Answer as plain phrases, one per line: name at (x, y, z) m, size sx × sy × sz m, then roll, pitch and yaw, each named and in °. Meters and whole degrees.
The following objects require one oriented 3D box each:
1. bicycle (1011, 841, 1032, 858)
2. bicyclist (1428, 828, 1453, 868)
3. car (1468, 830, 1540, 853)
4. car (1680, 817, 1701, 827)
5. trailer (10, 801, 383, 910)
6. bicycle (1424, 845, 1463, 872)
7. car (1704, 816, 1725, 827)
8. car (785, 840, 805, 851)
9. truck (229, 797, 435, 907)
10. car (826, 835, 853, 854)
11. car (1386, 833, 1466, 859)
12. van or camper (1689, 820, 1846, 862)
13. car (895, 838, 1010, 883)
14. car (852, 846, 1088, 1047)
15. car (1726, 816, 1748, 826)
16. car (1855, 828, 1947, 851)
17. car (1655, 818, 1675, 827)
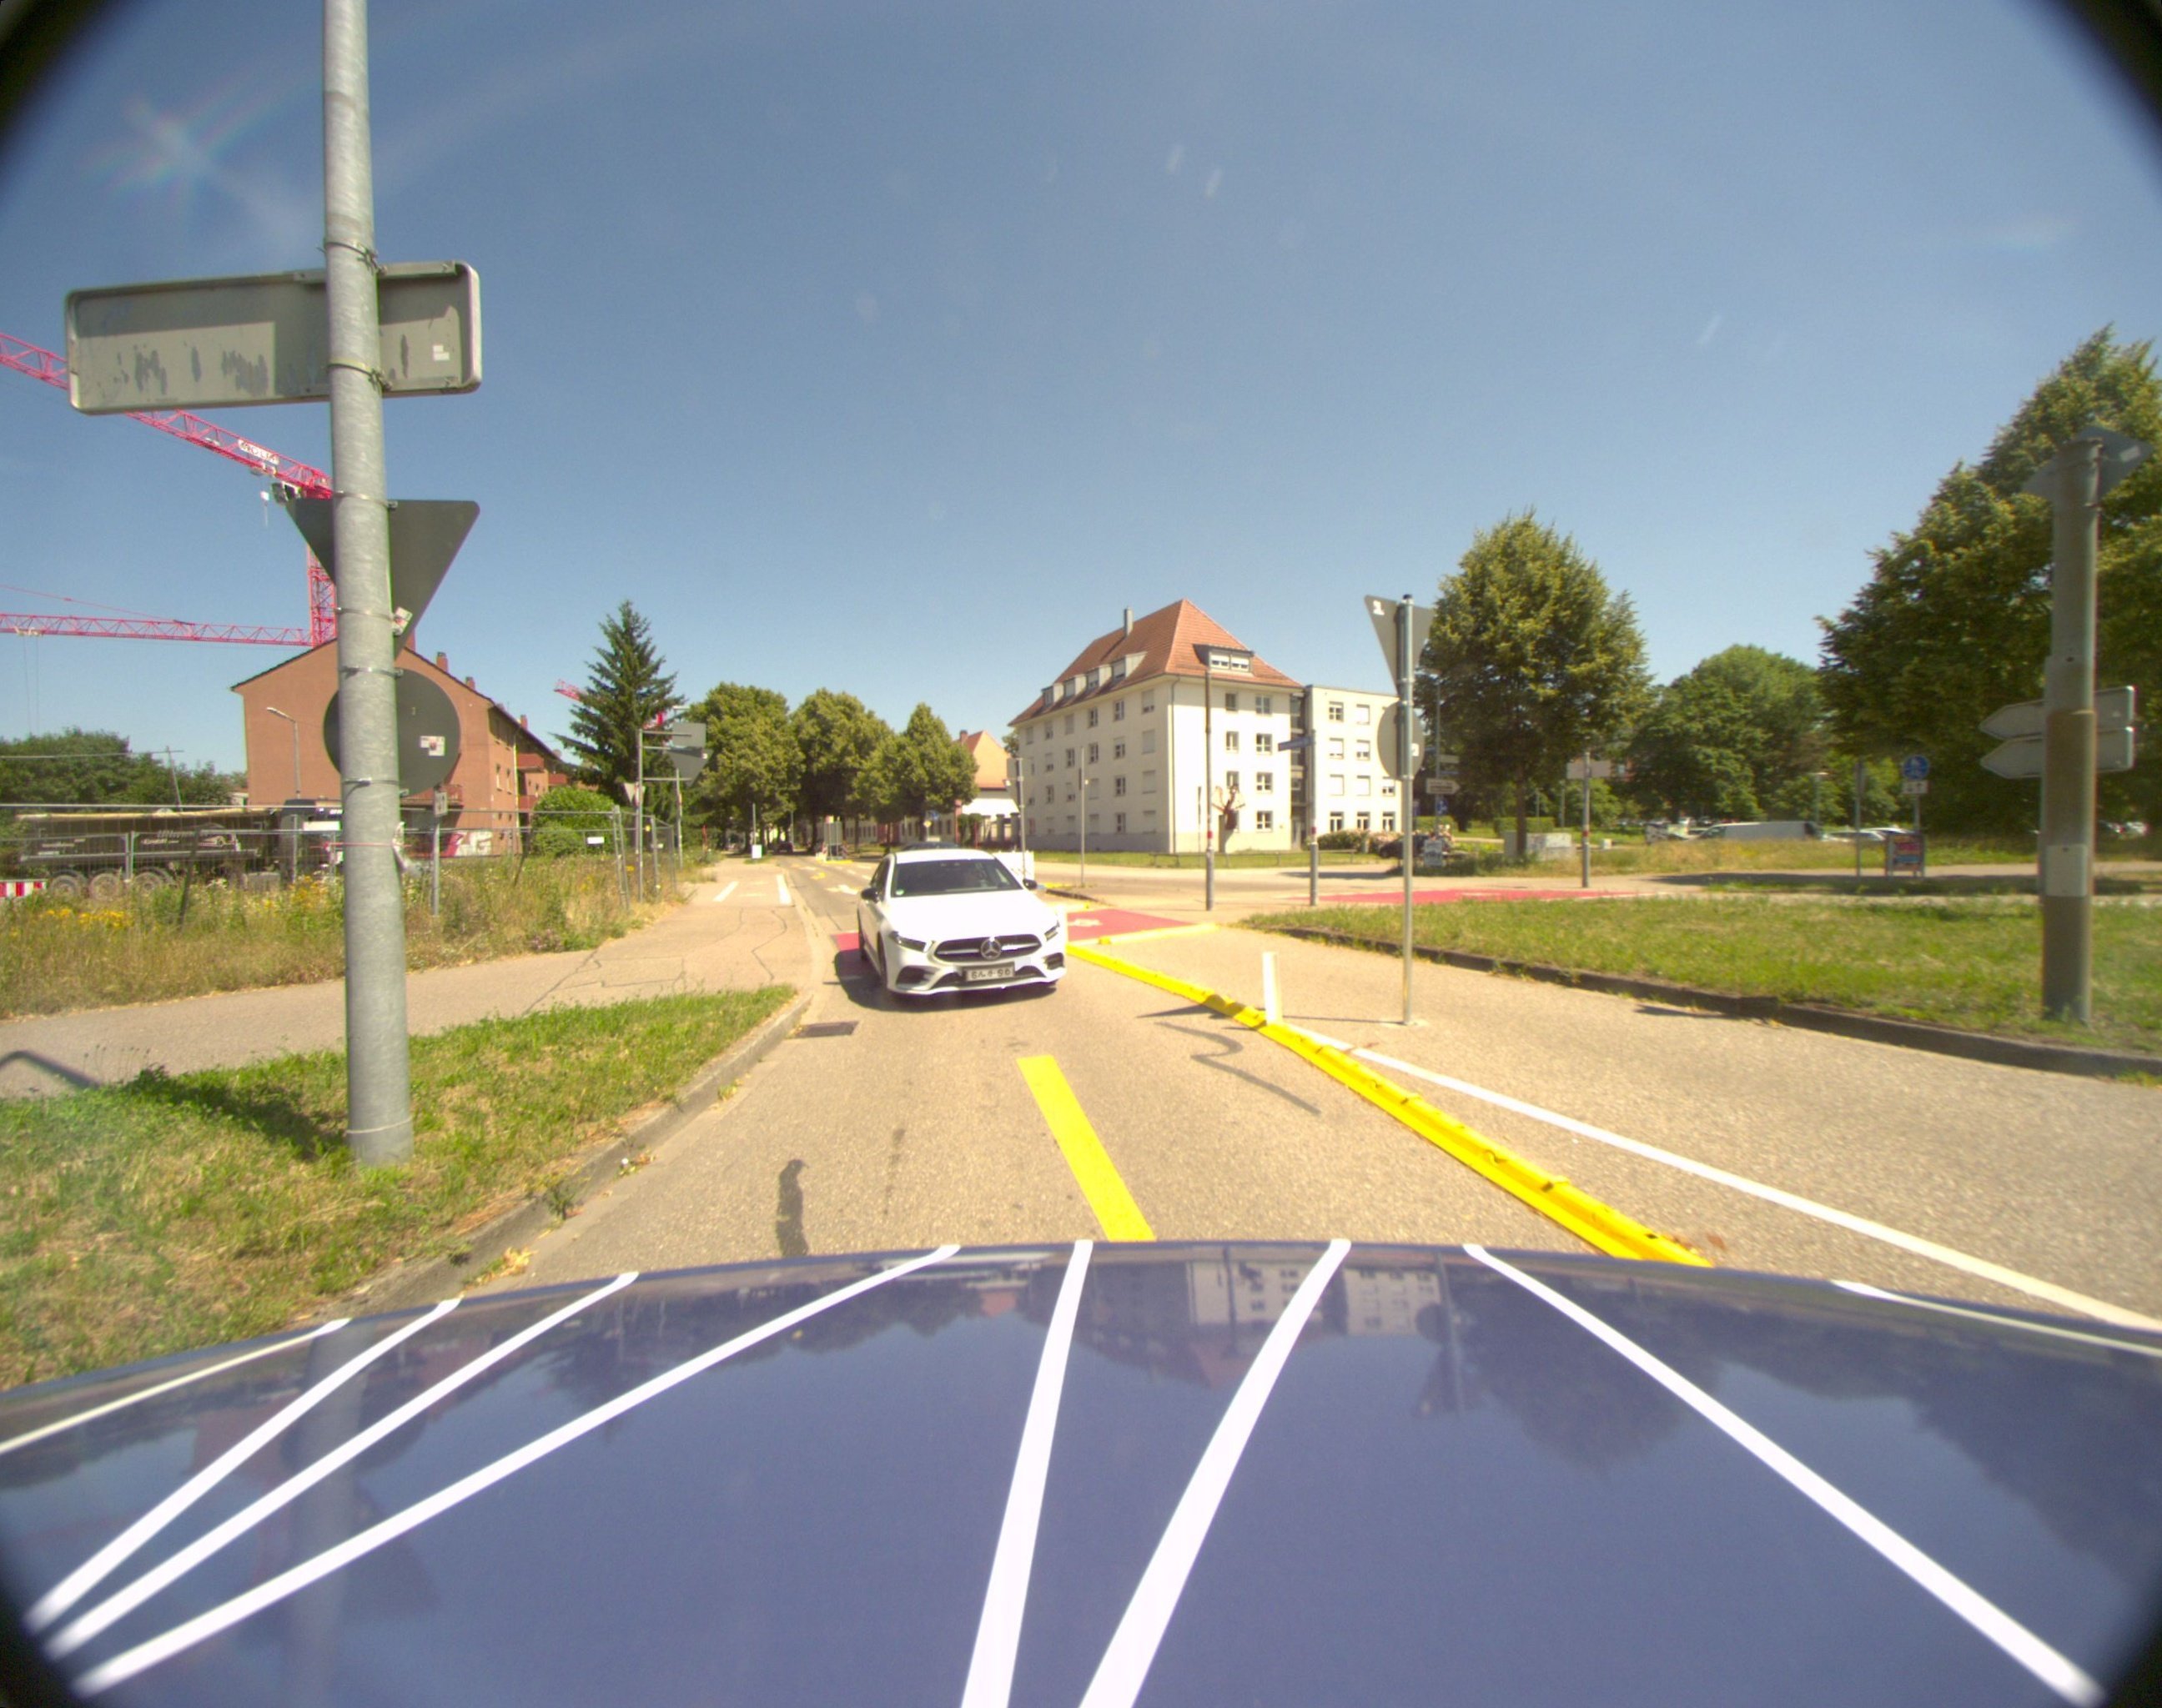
bicycle at (-3.795, -0.302, 48.360) m, size 0.710 × 1.019 × 1.981 m, roll -5°, pitch 4°, yaw -22°
bicyclist at (15.363, -0.248, 32.449) m, size 0.711 × 1.654 × 0.644 m, roll -2°, pitch 1°, yaw -33°
car at (24.508, -0.732, 44.121) m, size 1.358 × 1.210 × 3.505 m, roll -2°, pitch 2°, yaw -28°
car at (88.884, -4.682, 110.820) m, size 3.032 × 1.408 × 1.475 m, roll -2°, pitch 2°, yaw -33°
trailer at (-31.294, -0.009, 27.292) m, size 8.988 × 3.513 × 3.163 m, roll -1°, pitch 2°, yaw -4°
bicycle at (15.503, 0.181, 32.471) m, size 2.091 × 1.052 × 0.438 m, roll -3°, pitch 1°, yaw -32°
car at (90.235, -4.622, 108.232) m, size 3.032 × 1.408 × 1.475 m, roll -2°, pitch 2°, yaw -33°
car at (-35.959, -1.057, 95.587) m, size 1.646 × 1.374 × 3.880 m, roll -2°, pitch 2°, yaw -31°
truck at (-26.136, -0.088, 26.611) m, size 4.953 × 3.513 × 3.168 m, roll -1°, pitch 2°, yaw 20°
car at (-23.648, -0.962, 74.263) m, size 1.692 × 1.759 × 4.194 m, roll 1°, pitch 1°, yaw -29°
car at (18.965, -0.445, 41.878) m, size 1.662 × 1.319 × 3.798 m, roll -2°, pitch 2°, yaw -28°
van or camper at (32.960, -0.637, 36.688) m, size 2.003 × 1.847 × 5.260 m, roll -2°, pitch 2°, yaw -29°
car at (-4.778, 0.222, 27.797) m, size 1.805 × 1.443 × 4.604 m, roll -4°, pitch 3°, yaw -44°
car at (-1.466, 0.744, 8.401) m, size 1.783 × 1.537 × 3.955 m, roll -4°, pitch 2°, yaw -19°
car at (91.572, -4.591, 106.098) m, size 3.032 × 1.408 × 1.475 m, roll -2°, pitch 2°, yaw -33°
car at (48.104, -0.835, 44.651) m, size 1.358 × 1.274 × 3.376 m, roll -2°, pitch 2°, yaw -21°
car at (86.893, -4.693, 113.024) m, size 3.032 × 1.408 × 1.475 m, roll -2°, pitch 2°, yaw -33°
